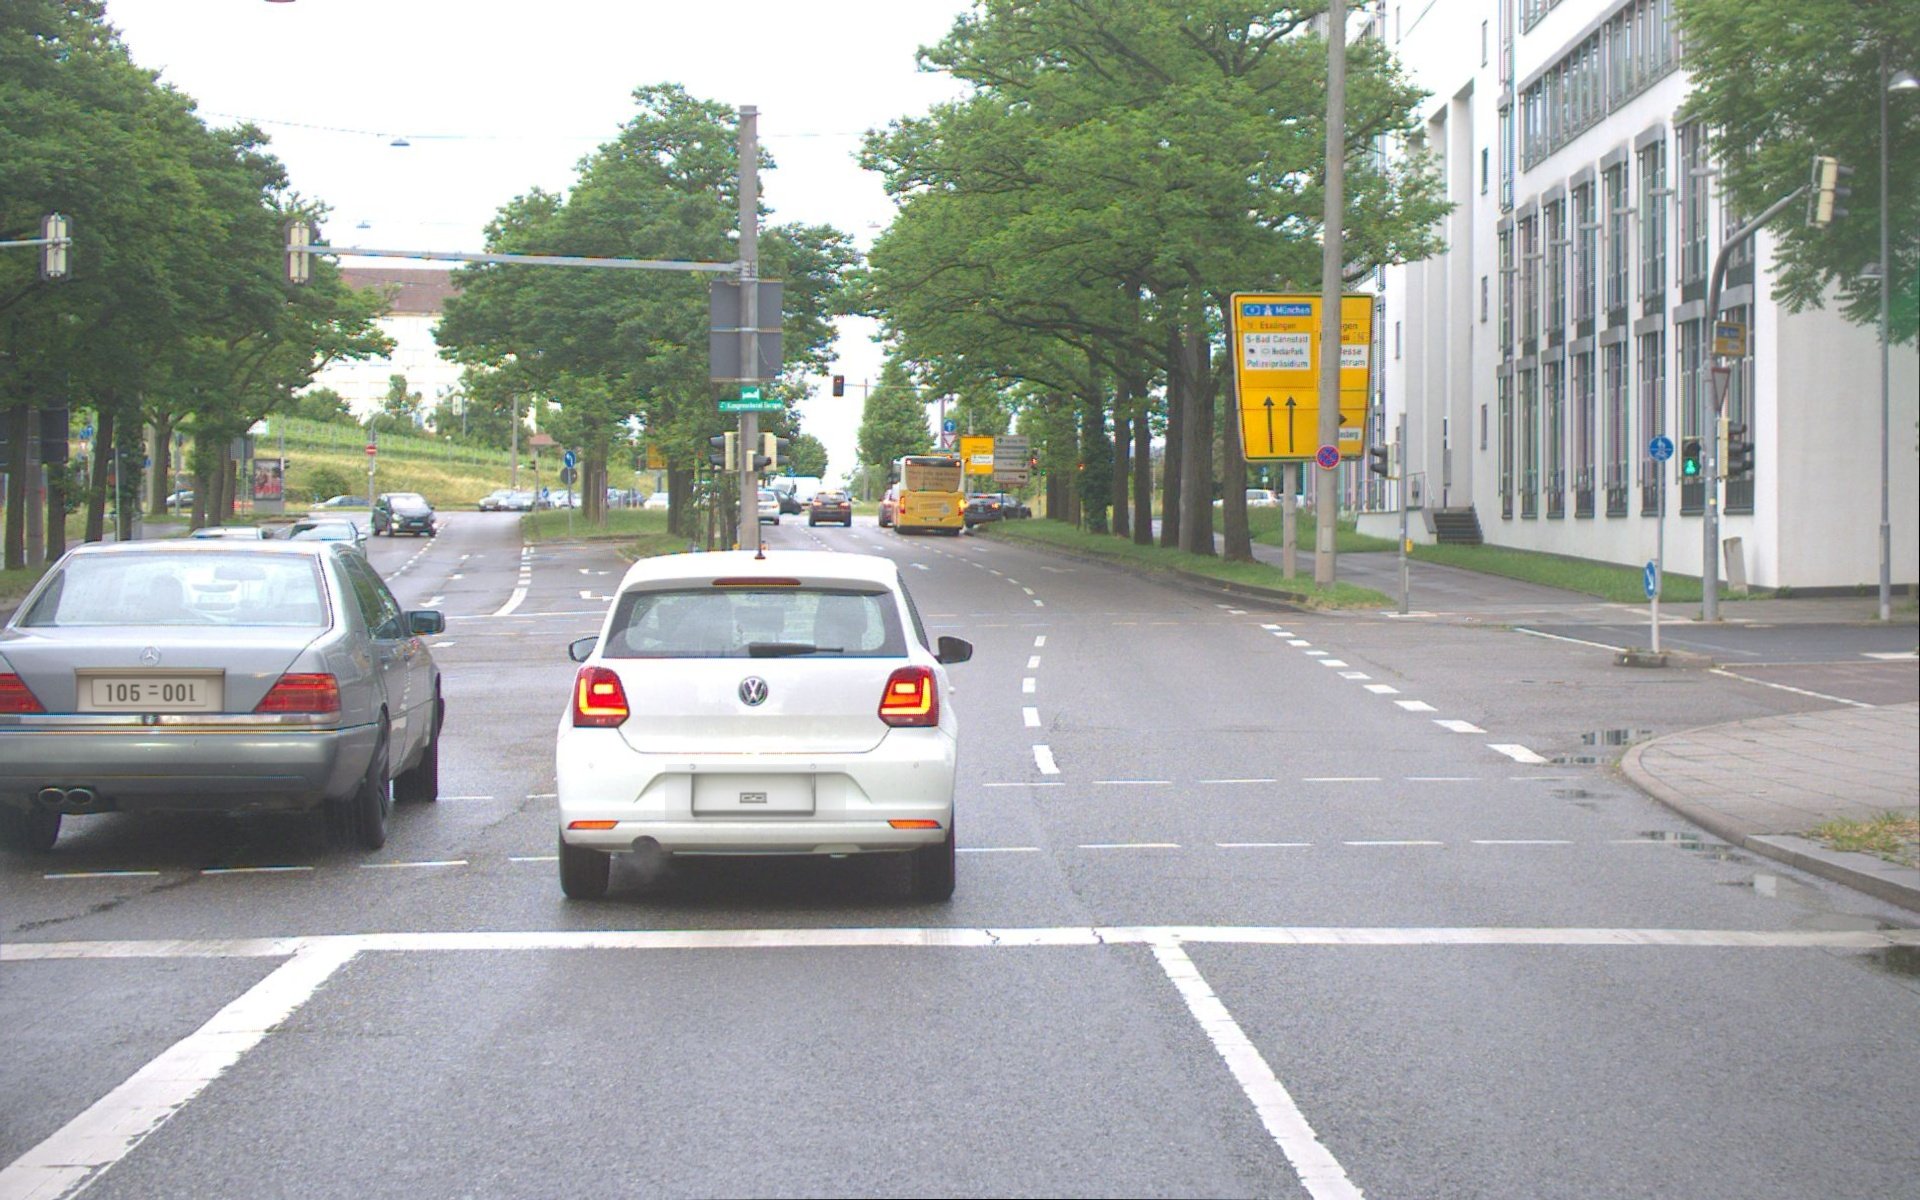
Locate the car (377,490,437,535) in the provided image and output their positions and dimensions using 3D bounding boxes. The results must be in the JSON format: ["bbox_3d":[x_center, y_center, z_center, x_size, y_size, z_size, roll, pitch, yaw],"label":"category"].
[{"bbox_3d":[-21.323,-3.395,132.708,1.993,1.610,5.122,-2,3,-6],"label":"car"}]

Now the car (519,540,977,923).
[{"bbox_3d":[-0.896,0.487,15.581,1.794,1.497,4.000,0,1,-2],"label":"car"}]

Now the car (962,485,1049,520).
[{"bbox_3d":[2.012,-4.244,150.342,1.699,1.510,3.818,1,1,43],"label":"car"}]

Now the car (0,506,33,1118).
[{"bbox_3d":[-3.408,0.597,7.141,1.772,1.591,4.197,-1,1,1],"label":"car"}]

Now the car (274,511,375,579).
[{"bbox_3d":[-14.437,-1.273,78.313,1.814,1.406,4.657,-2,2,-5],"label":"car"}]

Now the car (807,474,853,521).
[{"bbox_3d":[-5.699,-4.461,150.337,1.993,2.007,4.001,0,1,-3],"label":"car"}]

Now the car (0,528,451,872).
[{"bbox_3d":[-3.734,0.410,17.362,1.846,1.505,4.049,-1,1,-2],"label":"car"}]

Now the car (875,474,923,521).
[{"bbox_3d":[-2.713,-4.500,151.551,1.993,2.007,4.001,0,1,-3],"label":"car"}]

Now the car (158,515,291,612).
[{"bbox_3d":[-12.408,-0.638,58.179,1.750,1.515,3.818,-1,2,-6],"label":"car"}]

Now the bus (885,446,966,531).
[{"bbox_3d":[-1.455,-4.489,138.060,2.828,3.255,10.002,1,2,-3],"label":"bus"}]

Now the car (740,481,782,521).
[{"bbox_3d":[-8.821,-4.368,152.042,1.794,1.735,4.001,-1,1,-4],"label":"car"}]
